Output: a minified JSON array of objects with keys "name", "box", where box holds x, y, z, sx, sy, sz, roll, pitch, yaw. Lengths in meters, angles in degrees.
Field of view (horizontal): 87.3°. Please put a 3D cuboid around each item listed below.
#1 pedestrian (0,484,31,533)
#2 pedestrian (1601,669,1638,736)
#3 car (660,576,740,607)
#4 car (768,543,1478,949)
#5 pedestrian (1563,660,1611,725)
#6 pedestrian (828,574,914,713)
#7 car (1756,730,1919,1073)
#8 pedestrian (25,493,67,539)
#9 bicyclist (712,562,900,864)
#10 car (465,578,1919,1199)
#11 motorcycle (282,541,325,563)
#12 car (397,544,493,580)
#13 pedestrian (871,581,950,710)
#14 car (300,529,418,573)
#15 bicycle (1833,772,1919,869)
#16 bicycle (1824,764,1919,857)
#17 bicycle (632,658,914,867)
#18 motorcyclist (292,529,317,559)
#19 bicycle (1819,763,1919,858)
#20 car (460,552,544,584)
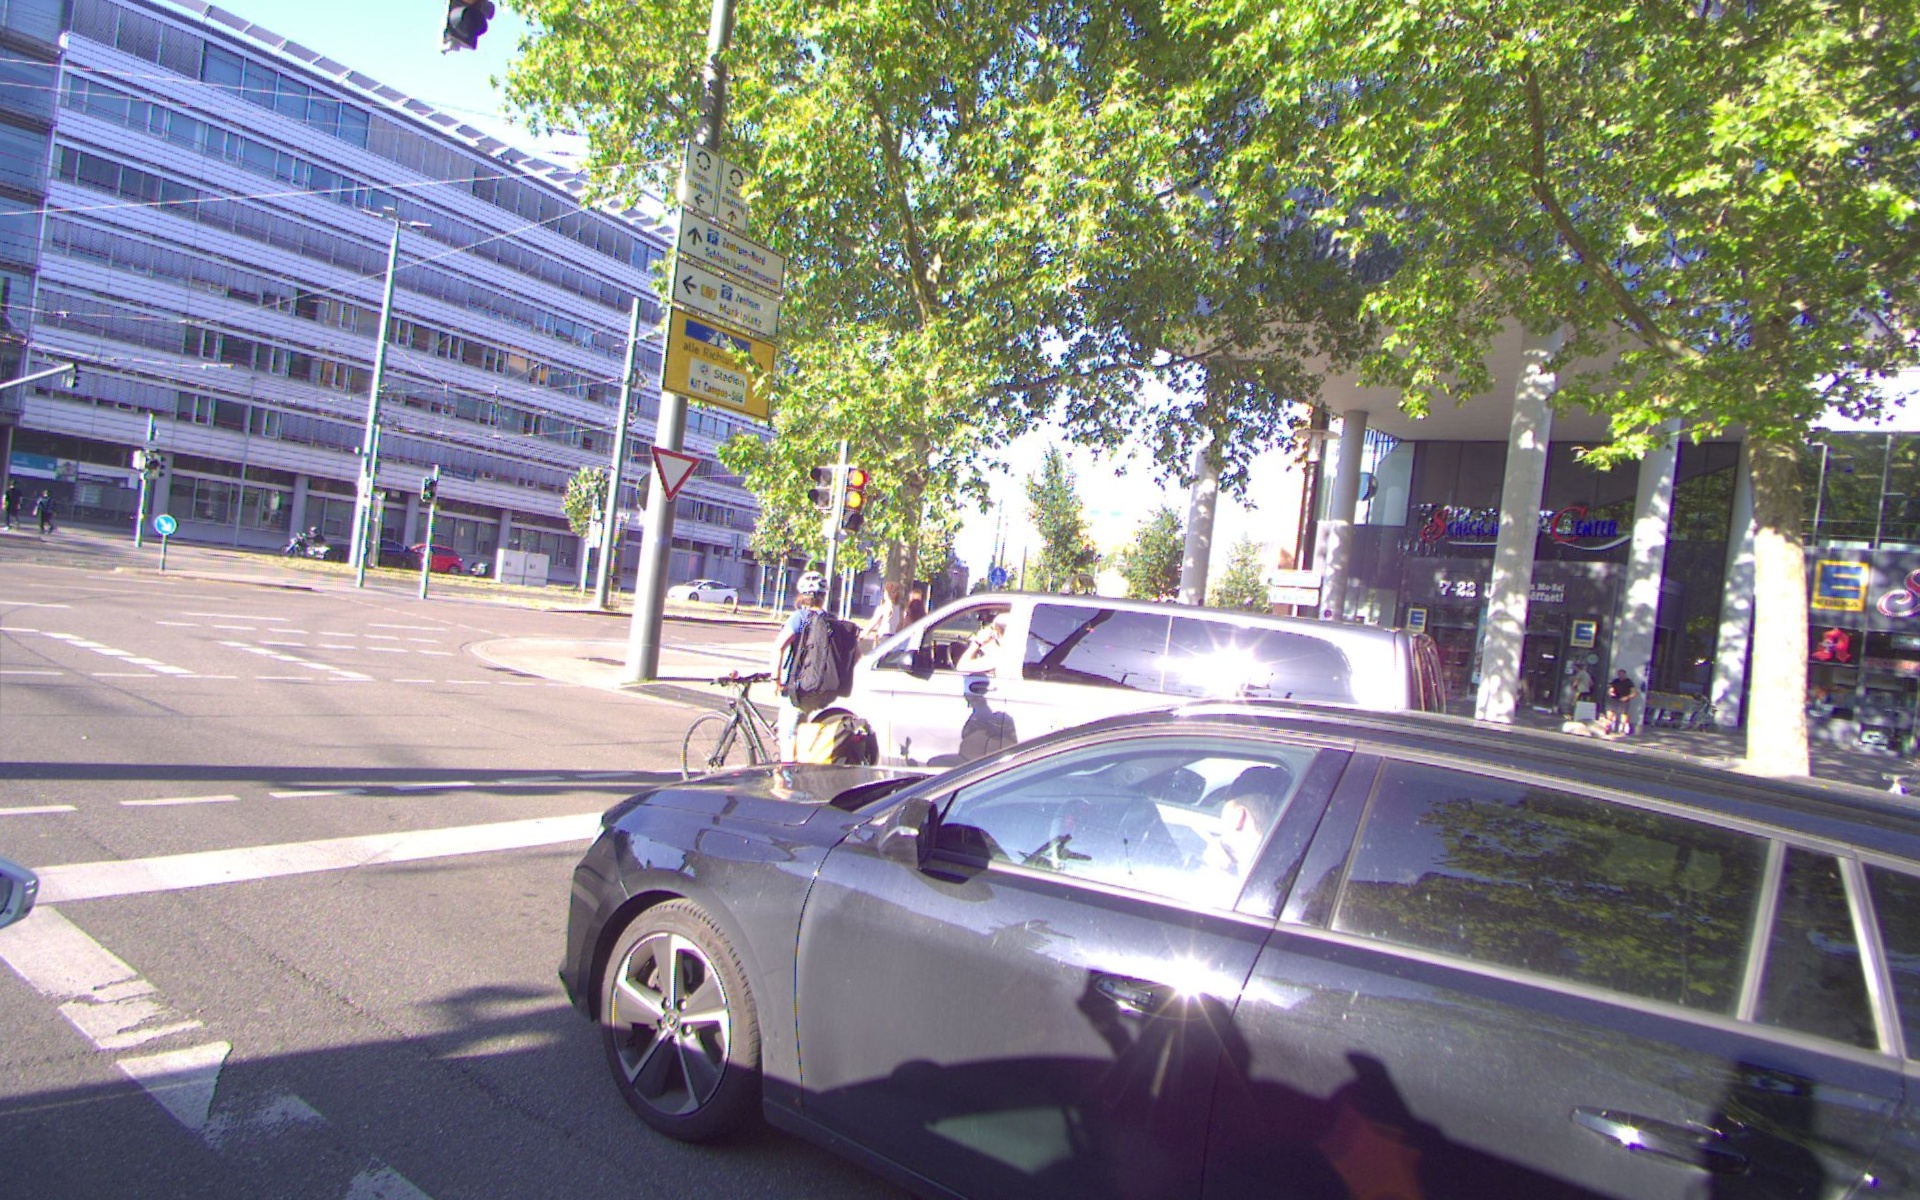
[{"name":"pedestrian","box":[-35.773,-3.471,37.900,1.020,1.706,0.912,7,1,39]},{"name":"pedestrian","box":[17.506,2.727,26.707,0.598,1.707,0.511,6,1,-41]},{"name":"car","box":[-15.894,-0.475,61.777,1.758,1.353,4.605,7,0,37]},{"name":"car","box":[1.114,0.841,7.955,5.012,2.004,1.939,7,0,31]},{"name":"pedestrian","box":[18.155,2.678,29.134,0.710,1.728,0.800,6,1,-31]},{"name":"pedestrian","box":[-1.272,0.620,14.371,0.800,1.868,0.642,7,1,30]},{"name":"car","box":[6.530,1.729,4.608,4.181,1.503,1.741,7,0,31]},{"name":"pedestrian","box":[-34.877,-3.209,38.389,0.883,1.583,0.947,7,1,38]},{"name":"bicyclist","box":[-0.968,0.679,6.347,0.766,1.714,0.632,7,1,32]},{"name":"car","box":[0.777,0.935,2.750,4.199,1.431,1.742,7,-2,32]},{"name":"motorcycle","box":[-30.204,-2.192,46.294,0.460,0.820,1.568,7,0,36]},{"name":"car","box":[-26.437,-1.944,51.736,1.758,1.411,3.984,7,1,37]},{"name":"pedestrian","box":[-0.735,0.680,15.004,0.751,1.799,0.648,7,1,28]},{"name":"car","box":[-27.261,-2.216,45.746,1.758,1.415,4.157,7,0,37]},{"name":"bicycle","box":[10.544,2.477,11.098,1.233,0.898,0.462,7,1,32]},{"name":"bicycle","box":[11.501,2.606,12.356,0.460,0.938,1.210,6,0,-39]},{"name":"bicycle","box":[-1.263,0.998,6.615,1.839,0.993,0.561,7,1,32]},{"name":"motorcyclist","box":[-30.148,-2.578,46.271,0.452,1.291,0.712,7,1,36]},{"name":"bicycle","box":[11.203,2.543,12.084,0.437,0.930,1.210,6,0,-39]},{"name":"car","box":[-27.261,-1.888,59.989,1.758,1.415,4.157,7,0,37]}]
